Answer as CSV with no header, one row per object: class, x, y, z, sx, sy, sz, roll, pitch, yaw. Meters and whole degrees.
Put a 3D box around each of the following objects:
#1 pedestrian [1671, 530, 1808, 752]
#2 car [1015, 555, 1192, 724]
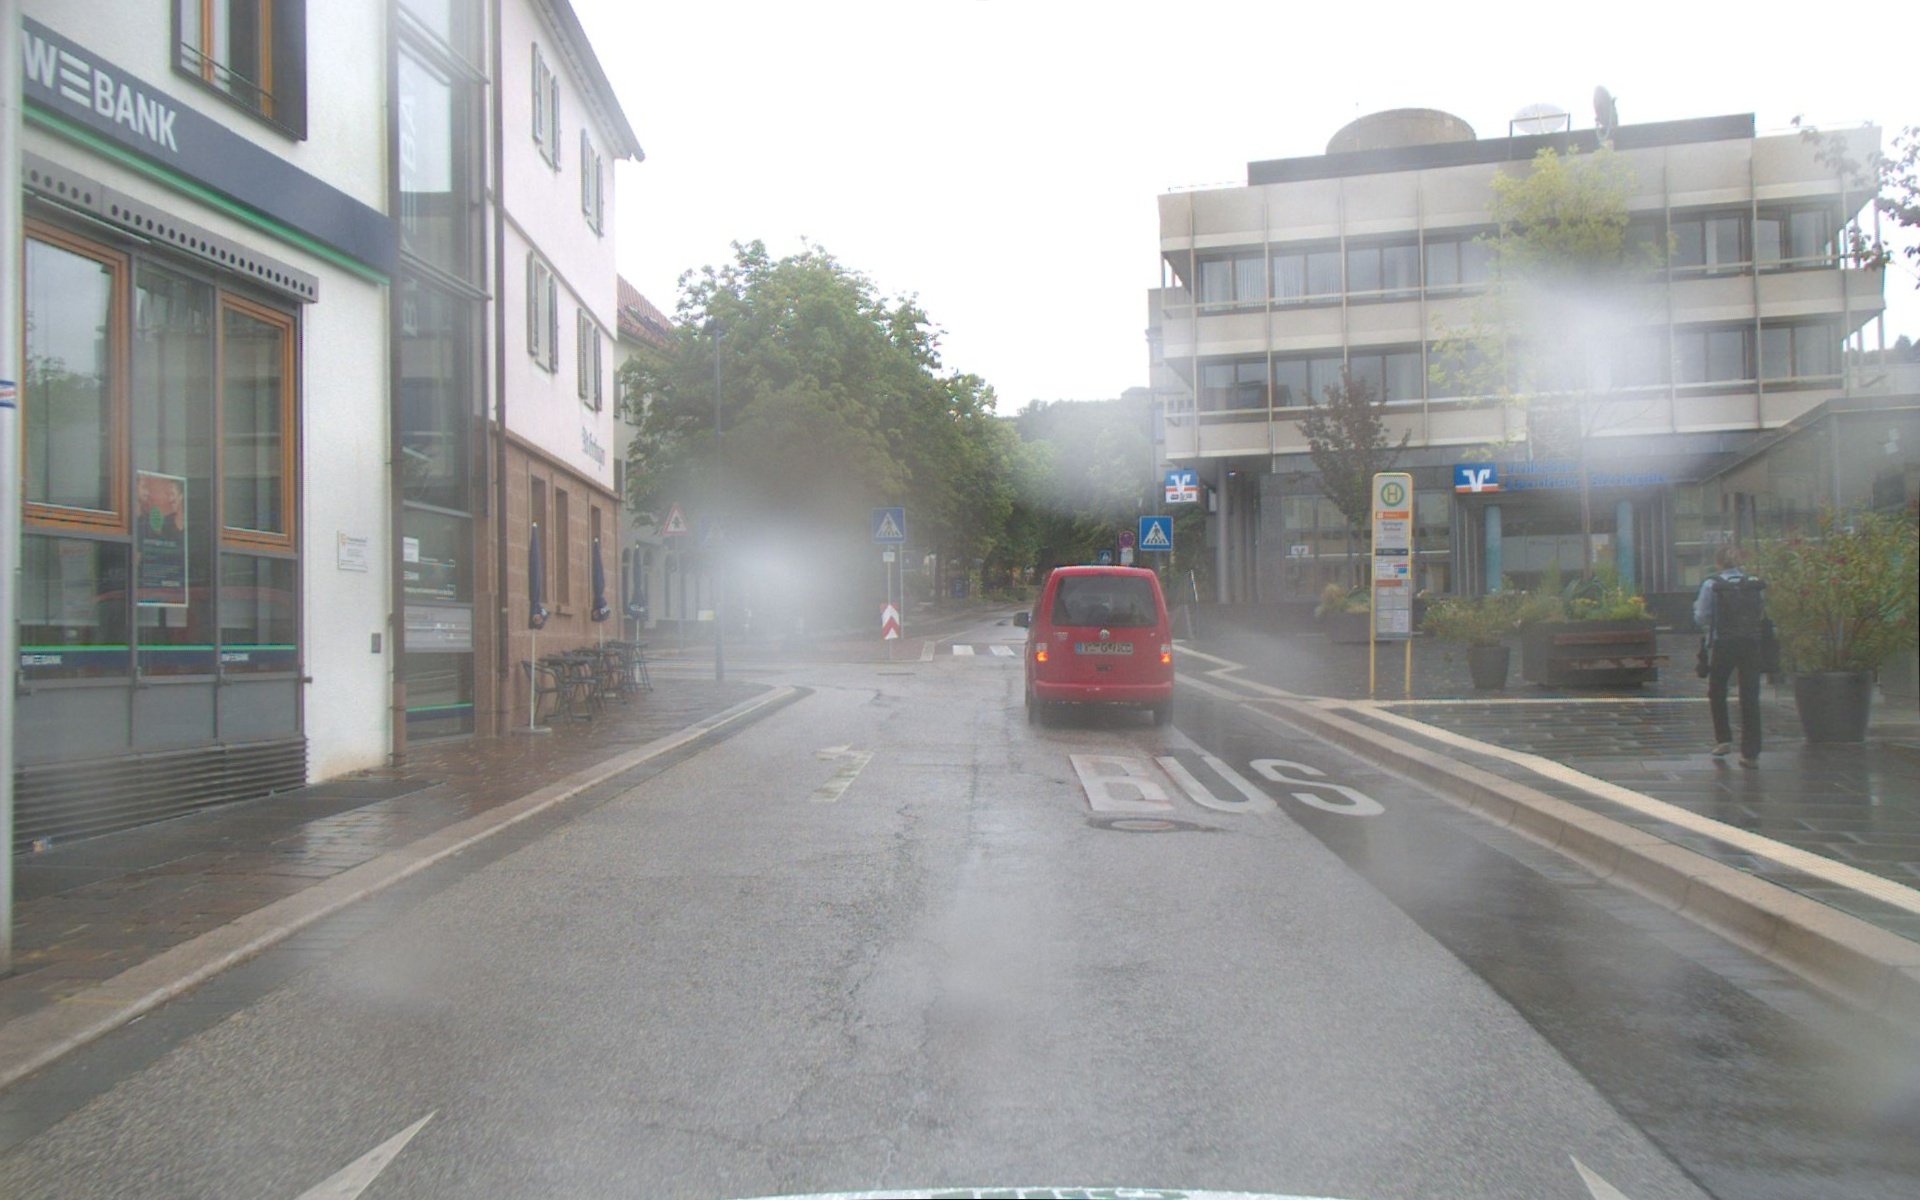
pedestrian,6.004,0.311,12.778,0.712,1.645,0.694,-2,-1,6
car,1.678,0.465,20.660,1.824,1.863,4.185,-1,-1,0
